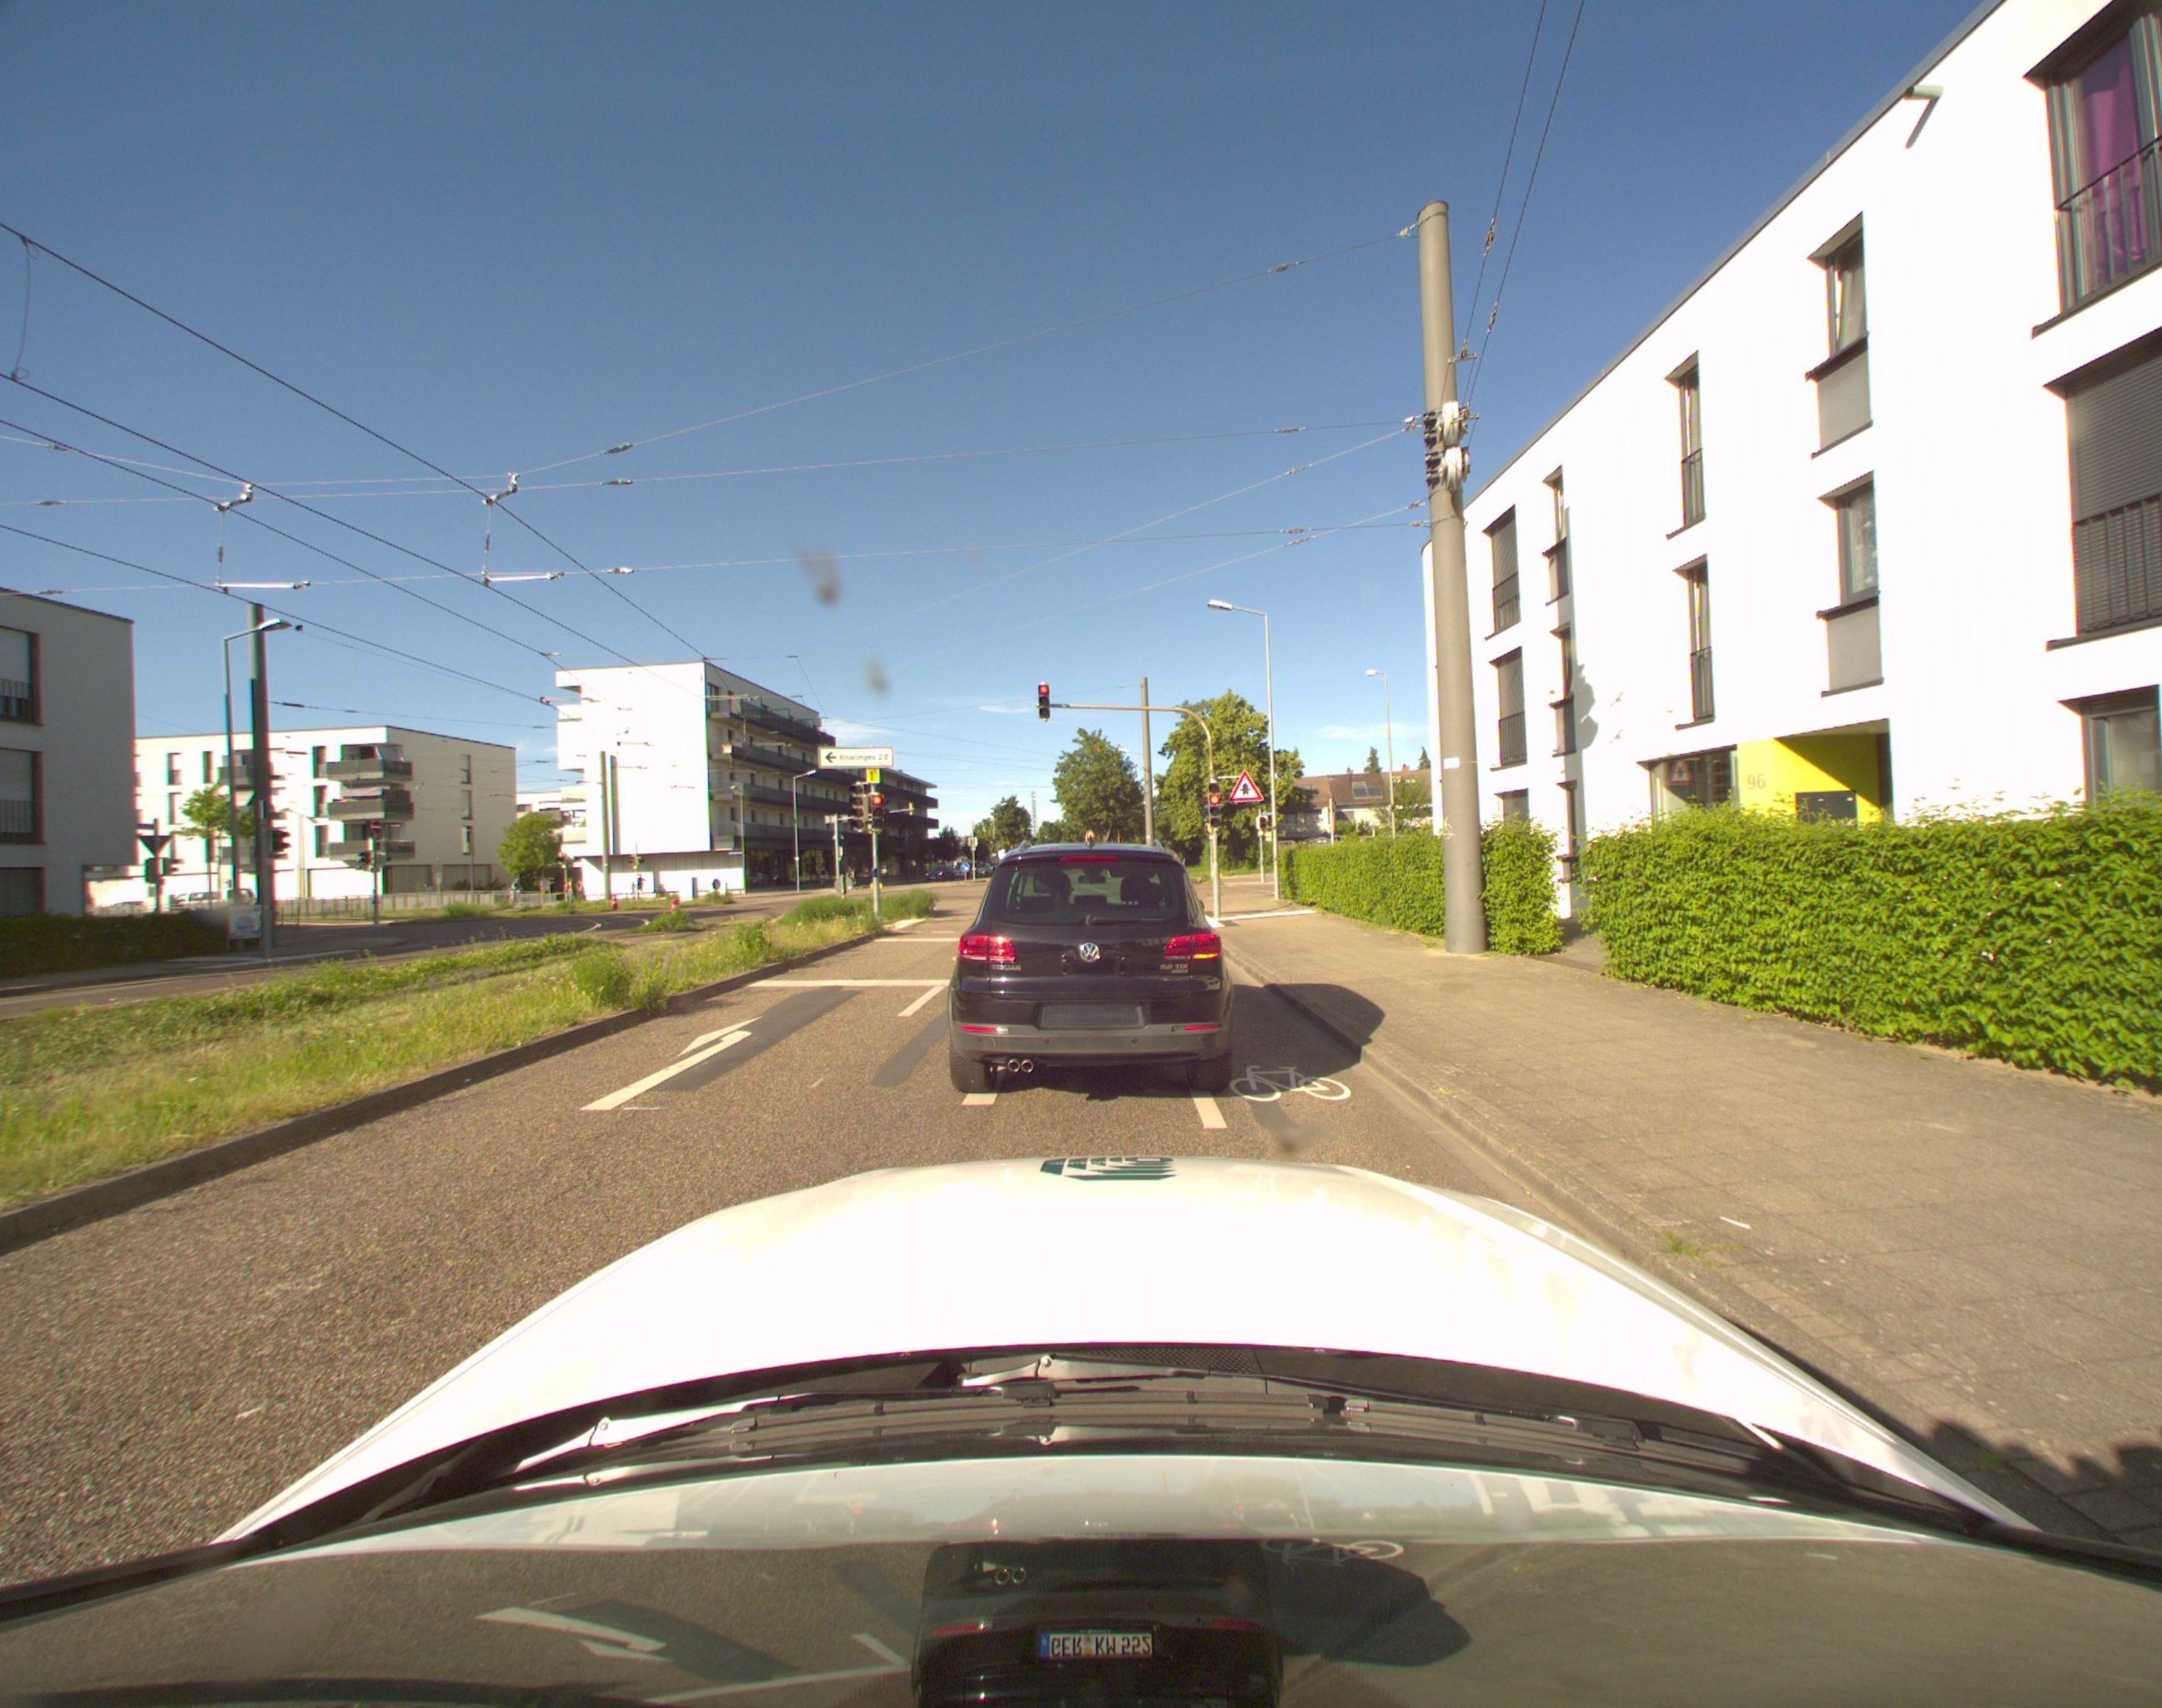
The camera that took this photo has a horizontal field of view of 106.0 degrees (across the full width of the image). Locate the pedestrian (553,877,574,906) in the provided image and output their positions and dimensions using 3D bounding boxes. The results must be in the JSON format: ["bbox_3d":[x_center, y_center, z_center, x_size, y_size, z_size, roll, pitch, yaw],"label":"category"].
[{"bbox_3d":[-29.744,2.148,46.840,0.770,1.605,0.741,0,-1,-5],"label":"pedestrian"}]

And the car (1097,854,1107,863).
[{"bbox_3d":[4.147,0.899,159.036,1.855,1.720,3.690,-2,0,4],"label":"car"}]

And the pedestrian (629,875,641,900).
[{"bbox_3d":[-31.467,2.330,57.495,0.542,1.744,0.517,0,-1,-4],"label":"pedestrian"}]

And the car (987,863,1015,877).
[{"bbox_3d":[-8.914,1.766,91.233,1.981,1.574,4.350,-1,-1,9],"label":"car"}]

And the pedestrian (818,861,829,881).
[{"bbox_3d":[-19.915,1.333,62.980,0.639,1.509,0.597,-1,-1,9],"label":"pedestrian"}]

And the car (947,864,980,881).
[{"bbox_3d":[-11.325,1.798,78.702,1.981,1.574,4.350,-1,-1,9],"label":"car"}]

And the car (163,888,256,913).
[{"bbox_3d":[-58.940,3.161,55.143,4.305,1.574,2.002,0,-1,4],"label":"car"}]

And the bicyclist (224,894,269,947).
[{"bbox_3d":[-26.508,2.098,25.878,0.634,1.614,0.788,-1,-1,13],"label":"bicyclist"}]

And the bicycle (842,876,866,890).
[{"bbox_3d":[-16.841,2.119,60.418,0.766,0.989,2.438,-1,-1,9],"label":"bicycle"}]

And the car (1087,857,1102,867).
[{"bbox_3d":[2.319,1.304,137.826,1.852,1.485,4.121,-3,0,9],"label":"car"}]

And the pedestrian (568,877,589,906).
[{"bbox_3d":[-28.902,2.142,46.863,0.770,1.605,0.741,0,-1,-5],"label":"pedestrian"}]

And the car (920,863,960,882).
[{"bbox_3d":[-12.419,1.625,71.940,1.980,1.574,4.353,-1,-1,11],"label":"car"}]

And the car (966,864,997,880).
[{"bbox_3d":[-10.266,1.879,84.542,1.981,1.574,4.350,-1,-1,9],"label":"car"}]

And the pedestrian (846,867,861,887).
[{"bbox_3d":[-16.845,1.697,60.385,0.707,1.474,0.956,-1,-1,9],"label":"pedestrian"}]

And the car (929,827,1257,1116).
[{"bbox_3d":[0.127,0.688,6.646,1.862,1.637,4.001,0,-1,2],"label":"car"}]

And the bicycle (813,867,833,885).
[{"bbox_3d":[-19.912,1.689,62.952,0.626,1.332,1.918,-1,-1,10],"label":"bicycle"}]

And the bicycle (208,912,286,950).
[{"bbox_3d":[-26.475,2.439,25.861,1.843,1.124,0.825,-1,-1,9],"label":"bicycle"}]

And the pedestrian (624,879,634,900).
[{"bbox_3d":[-31.603,2.477,56.959,0.440,1.503,0.517,0,-1,-4],"label":"pedestrian"}]
